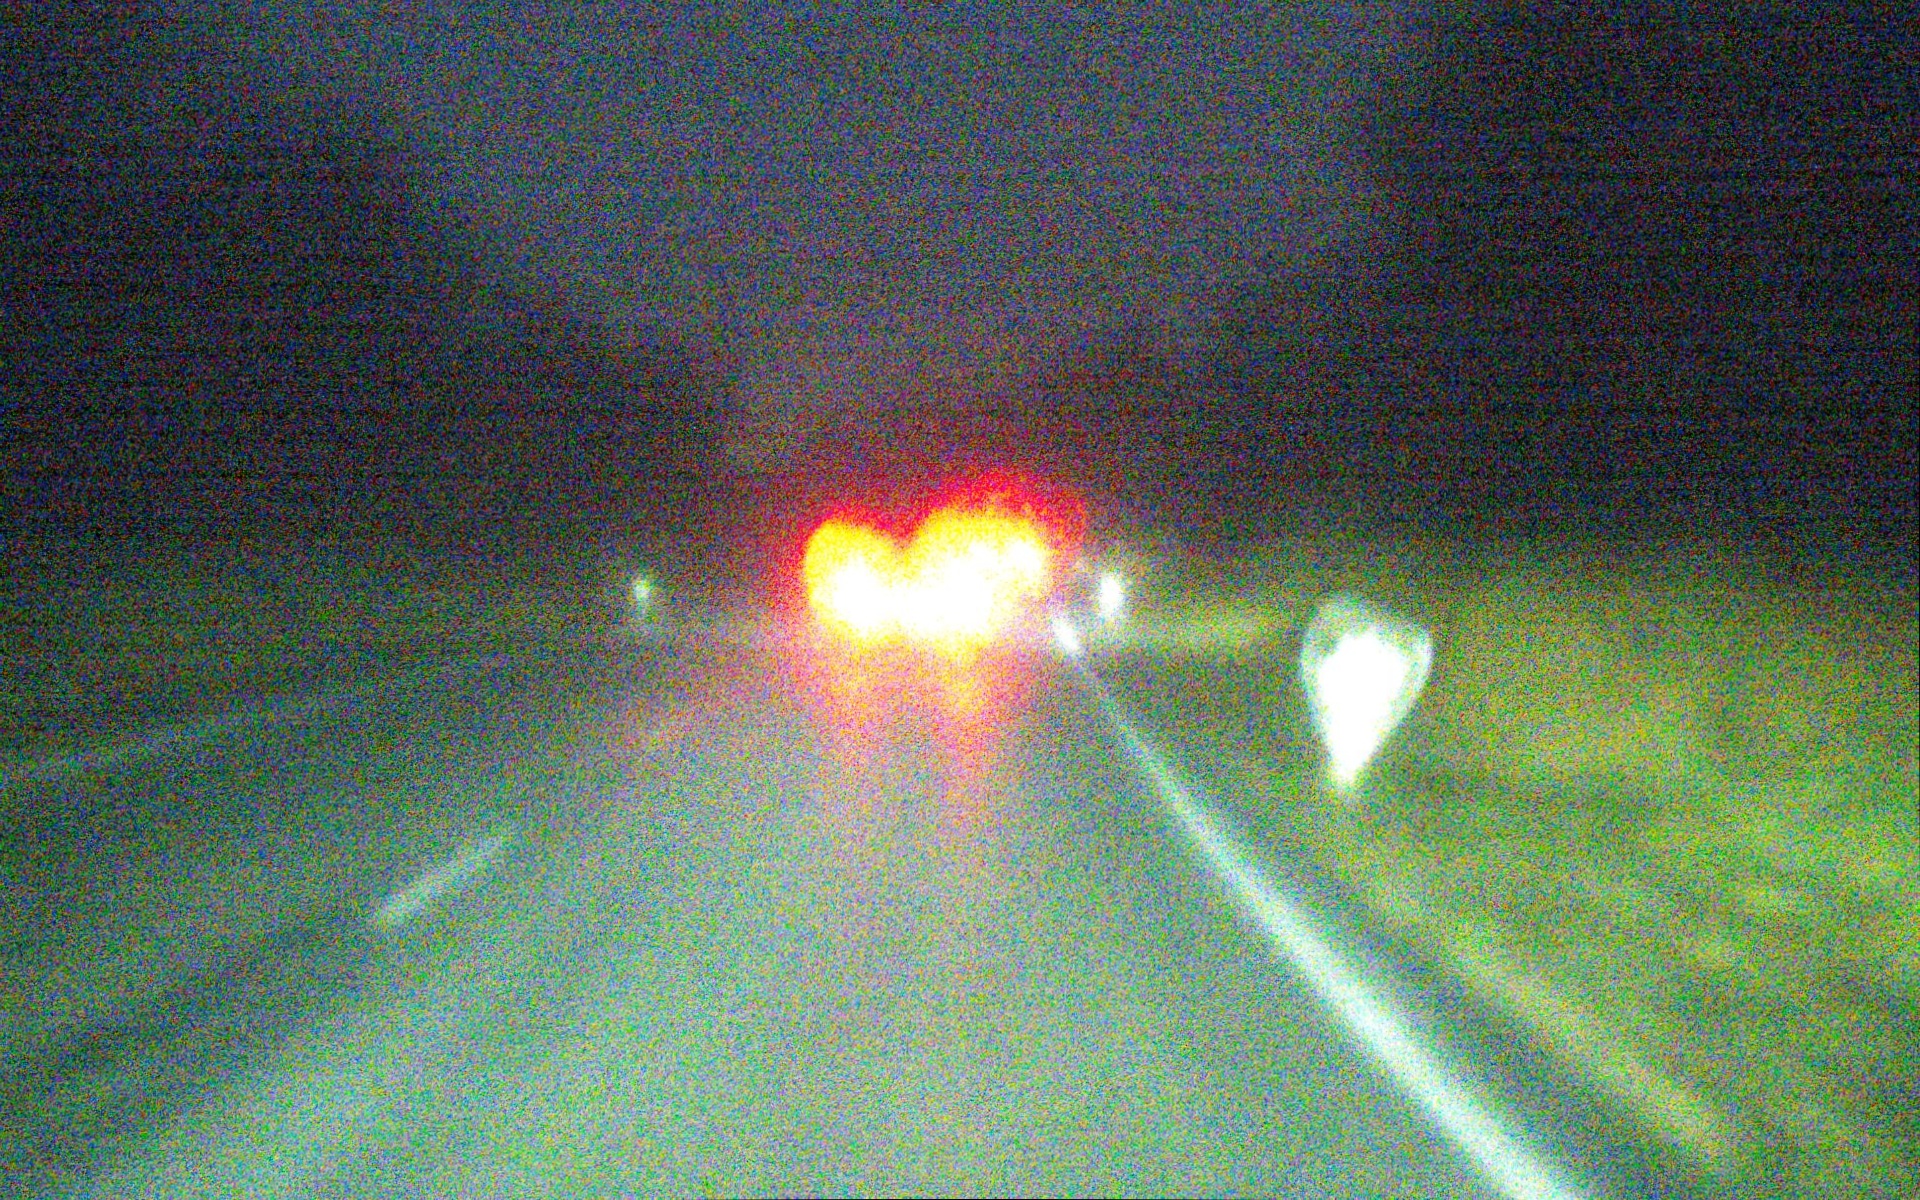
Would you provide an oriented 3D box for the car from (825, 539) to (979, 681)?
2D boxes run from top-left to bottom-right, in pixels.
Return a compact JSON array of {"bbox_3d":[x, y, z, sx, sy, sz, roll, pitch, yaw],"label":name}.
[{"bbox_3d":[-0.700,0.089,43.994,1.842,1.734,4.000,0,1,1],"label":"car"}]
